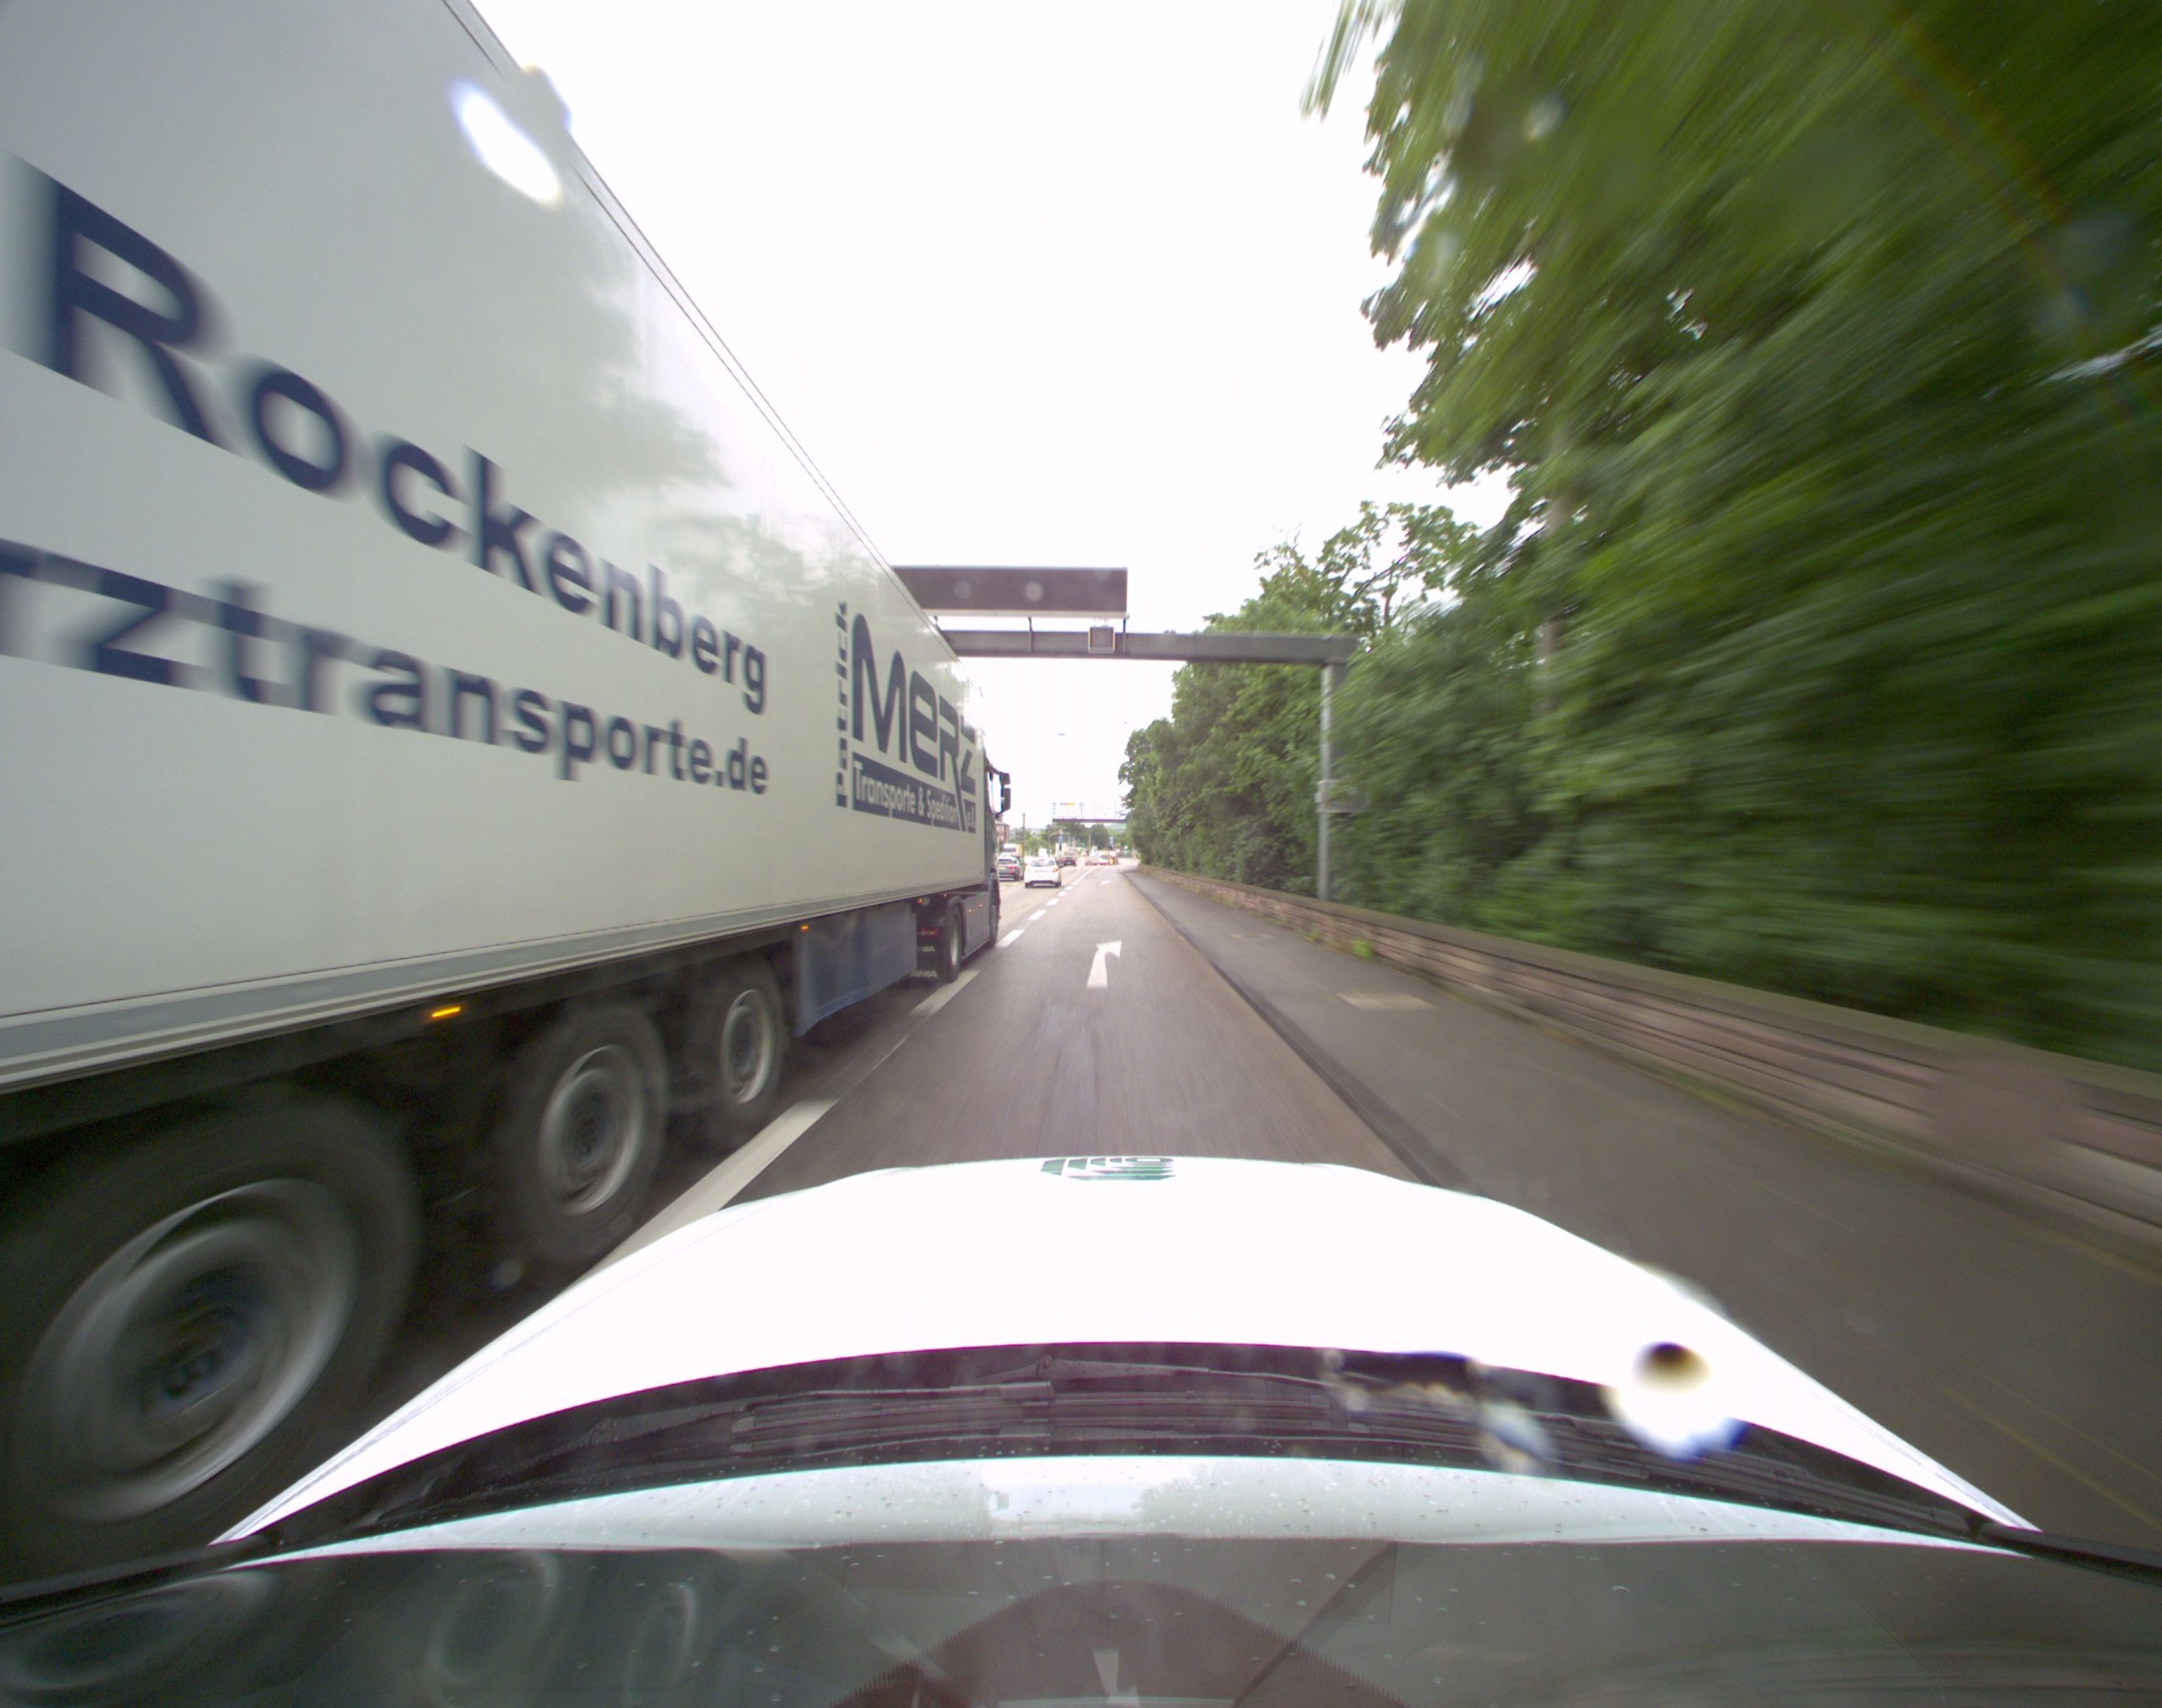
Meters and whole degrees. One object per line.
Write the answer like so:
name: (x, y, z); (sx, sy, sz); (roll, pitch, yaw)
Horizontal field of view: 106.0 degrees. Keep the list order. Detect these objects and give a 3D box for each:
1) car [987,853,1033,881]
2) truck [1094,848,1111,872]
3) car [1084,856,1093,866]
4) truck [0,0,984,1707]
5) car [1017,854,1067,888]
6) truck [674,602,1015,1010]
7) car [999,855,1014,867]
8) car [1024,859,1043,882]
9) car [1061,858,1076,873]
car: (-4.429, 0.781, 51.180); (1.809, 1.565, 4.103); (-2, 0, 10)
truck: (5.321, 1.510, 197.576); (3.449, 5.402, 12.061); (1, -3, 4)
car: (1.670, 1.655, 186.667); (1.986, 2.014, 4.000); (1, -3, 2)
truck: (-2.881, -0.509, 4.828); (2.752, 4.197, 13.033); (-1, 0, 1)
car: (-1.885, 0.809, 40.783); (1.946, 1.488, 4.006); (1, 1, 5)
truck: (-2.747, -0.516, 11.904); (2.752, 4.197, 6.786); (-1, 0, 1)
car: (-13.000, 1.257, 142.458); (1.986, 2.014, 4.000); (1, -3, 2)
car: (-4.510, 1.569, 77.466); (1.718, 1.891, 3.531); (-1, 3, -4)
car: (-1.769, 1.672, 118.694); (1.986, 2.014, 4.000); (1, -3, 2)
